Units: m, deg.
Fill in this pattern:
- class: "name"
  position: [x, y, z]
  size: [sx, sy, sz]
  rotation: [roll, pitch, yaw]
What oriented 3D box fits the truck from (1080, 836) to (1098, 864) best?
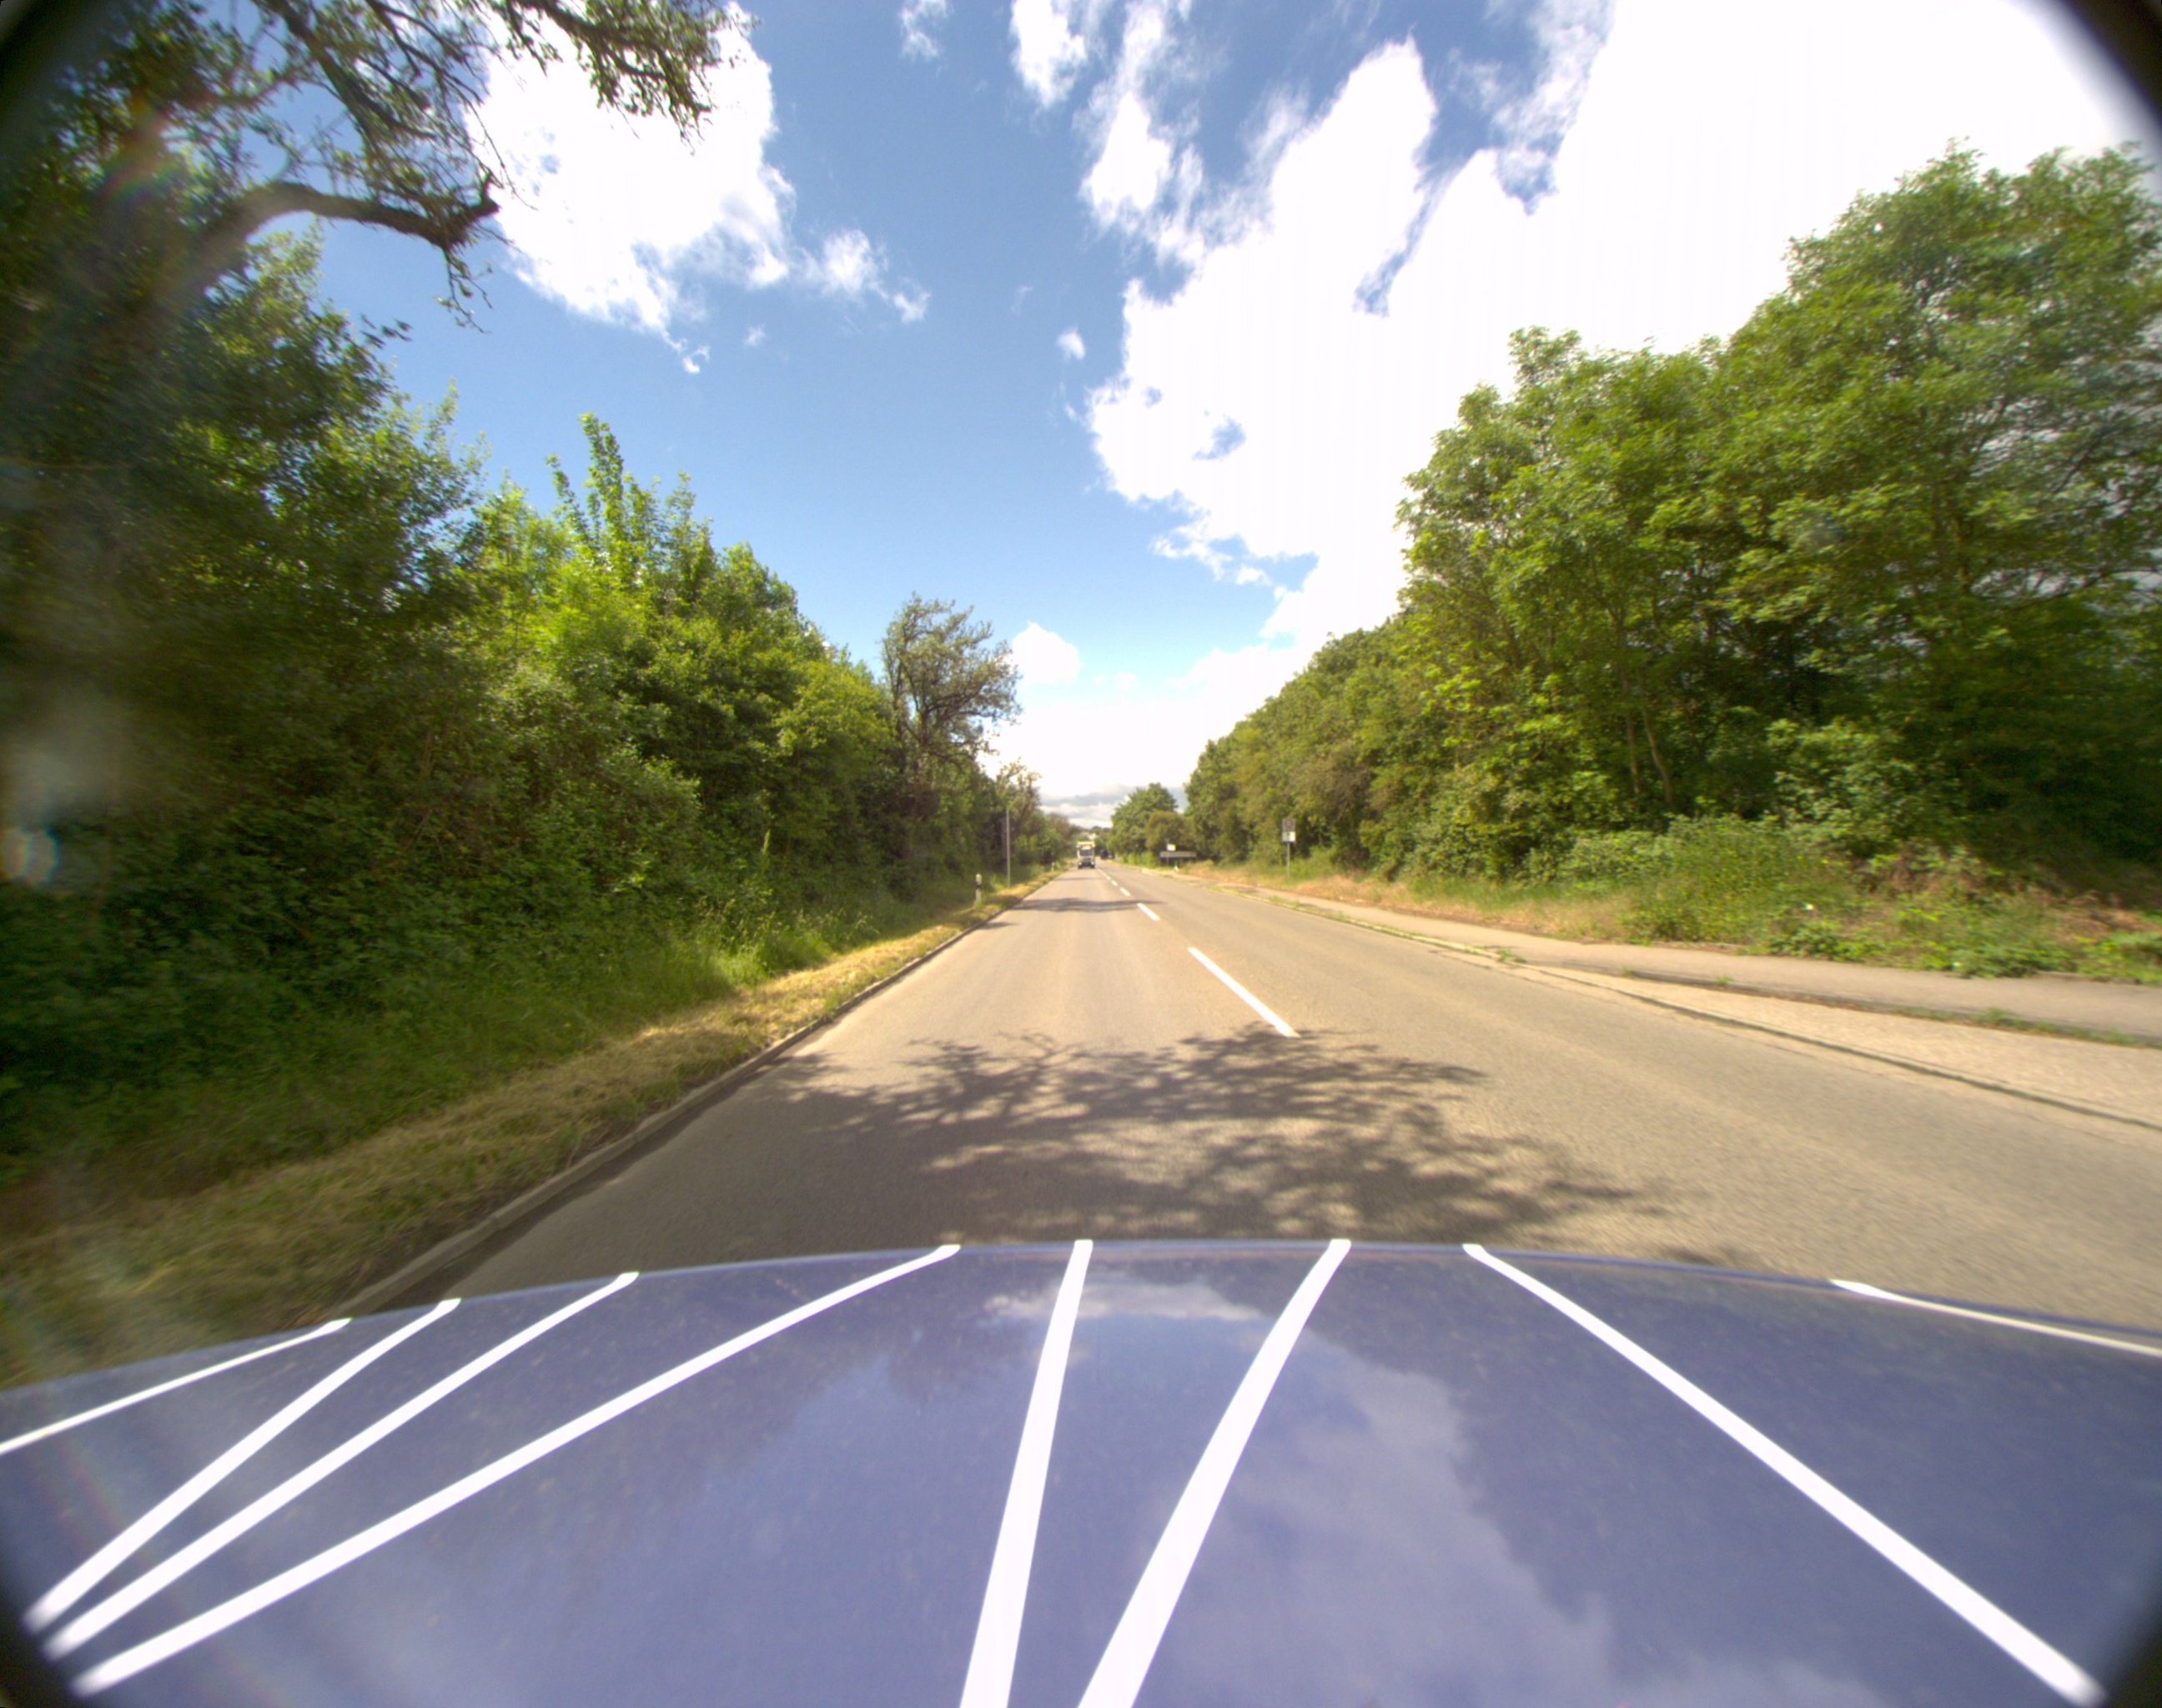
- class: "truck"
  position: [1.130, -0.547, 110.233]
  size: [2.306, 3.790, 8.182]
  rotation: [-3, 1, 0]
